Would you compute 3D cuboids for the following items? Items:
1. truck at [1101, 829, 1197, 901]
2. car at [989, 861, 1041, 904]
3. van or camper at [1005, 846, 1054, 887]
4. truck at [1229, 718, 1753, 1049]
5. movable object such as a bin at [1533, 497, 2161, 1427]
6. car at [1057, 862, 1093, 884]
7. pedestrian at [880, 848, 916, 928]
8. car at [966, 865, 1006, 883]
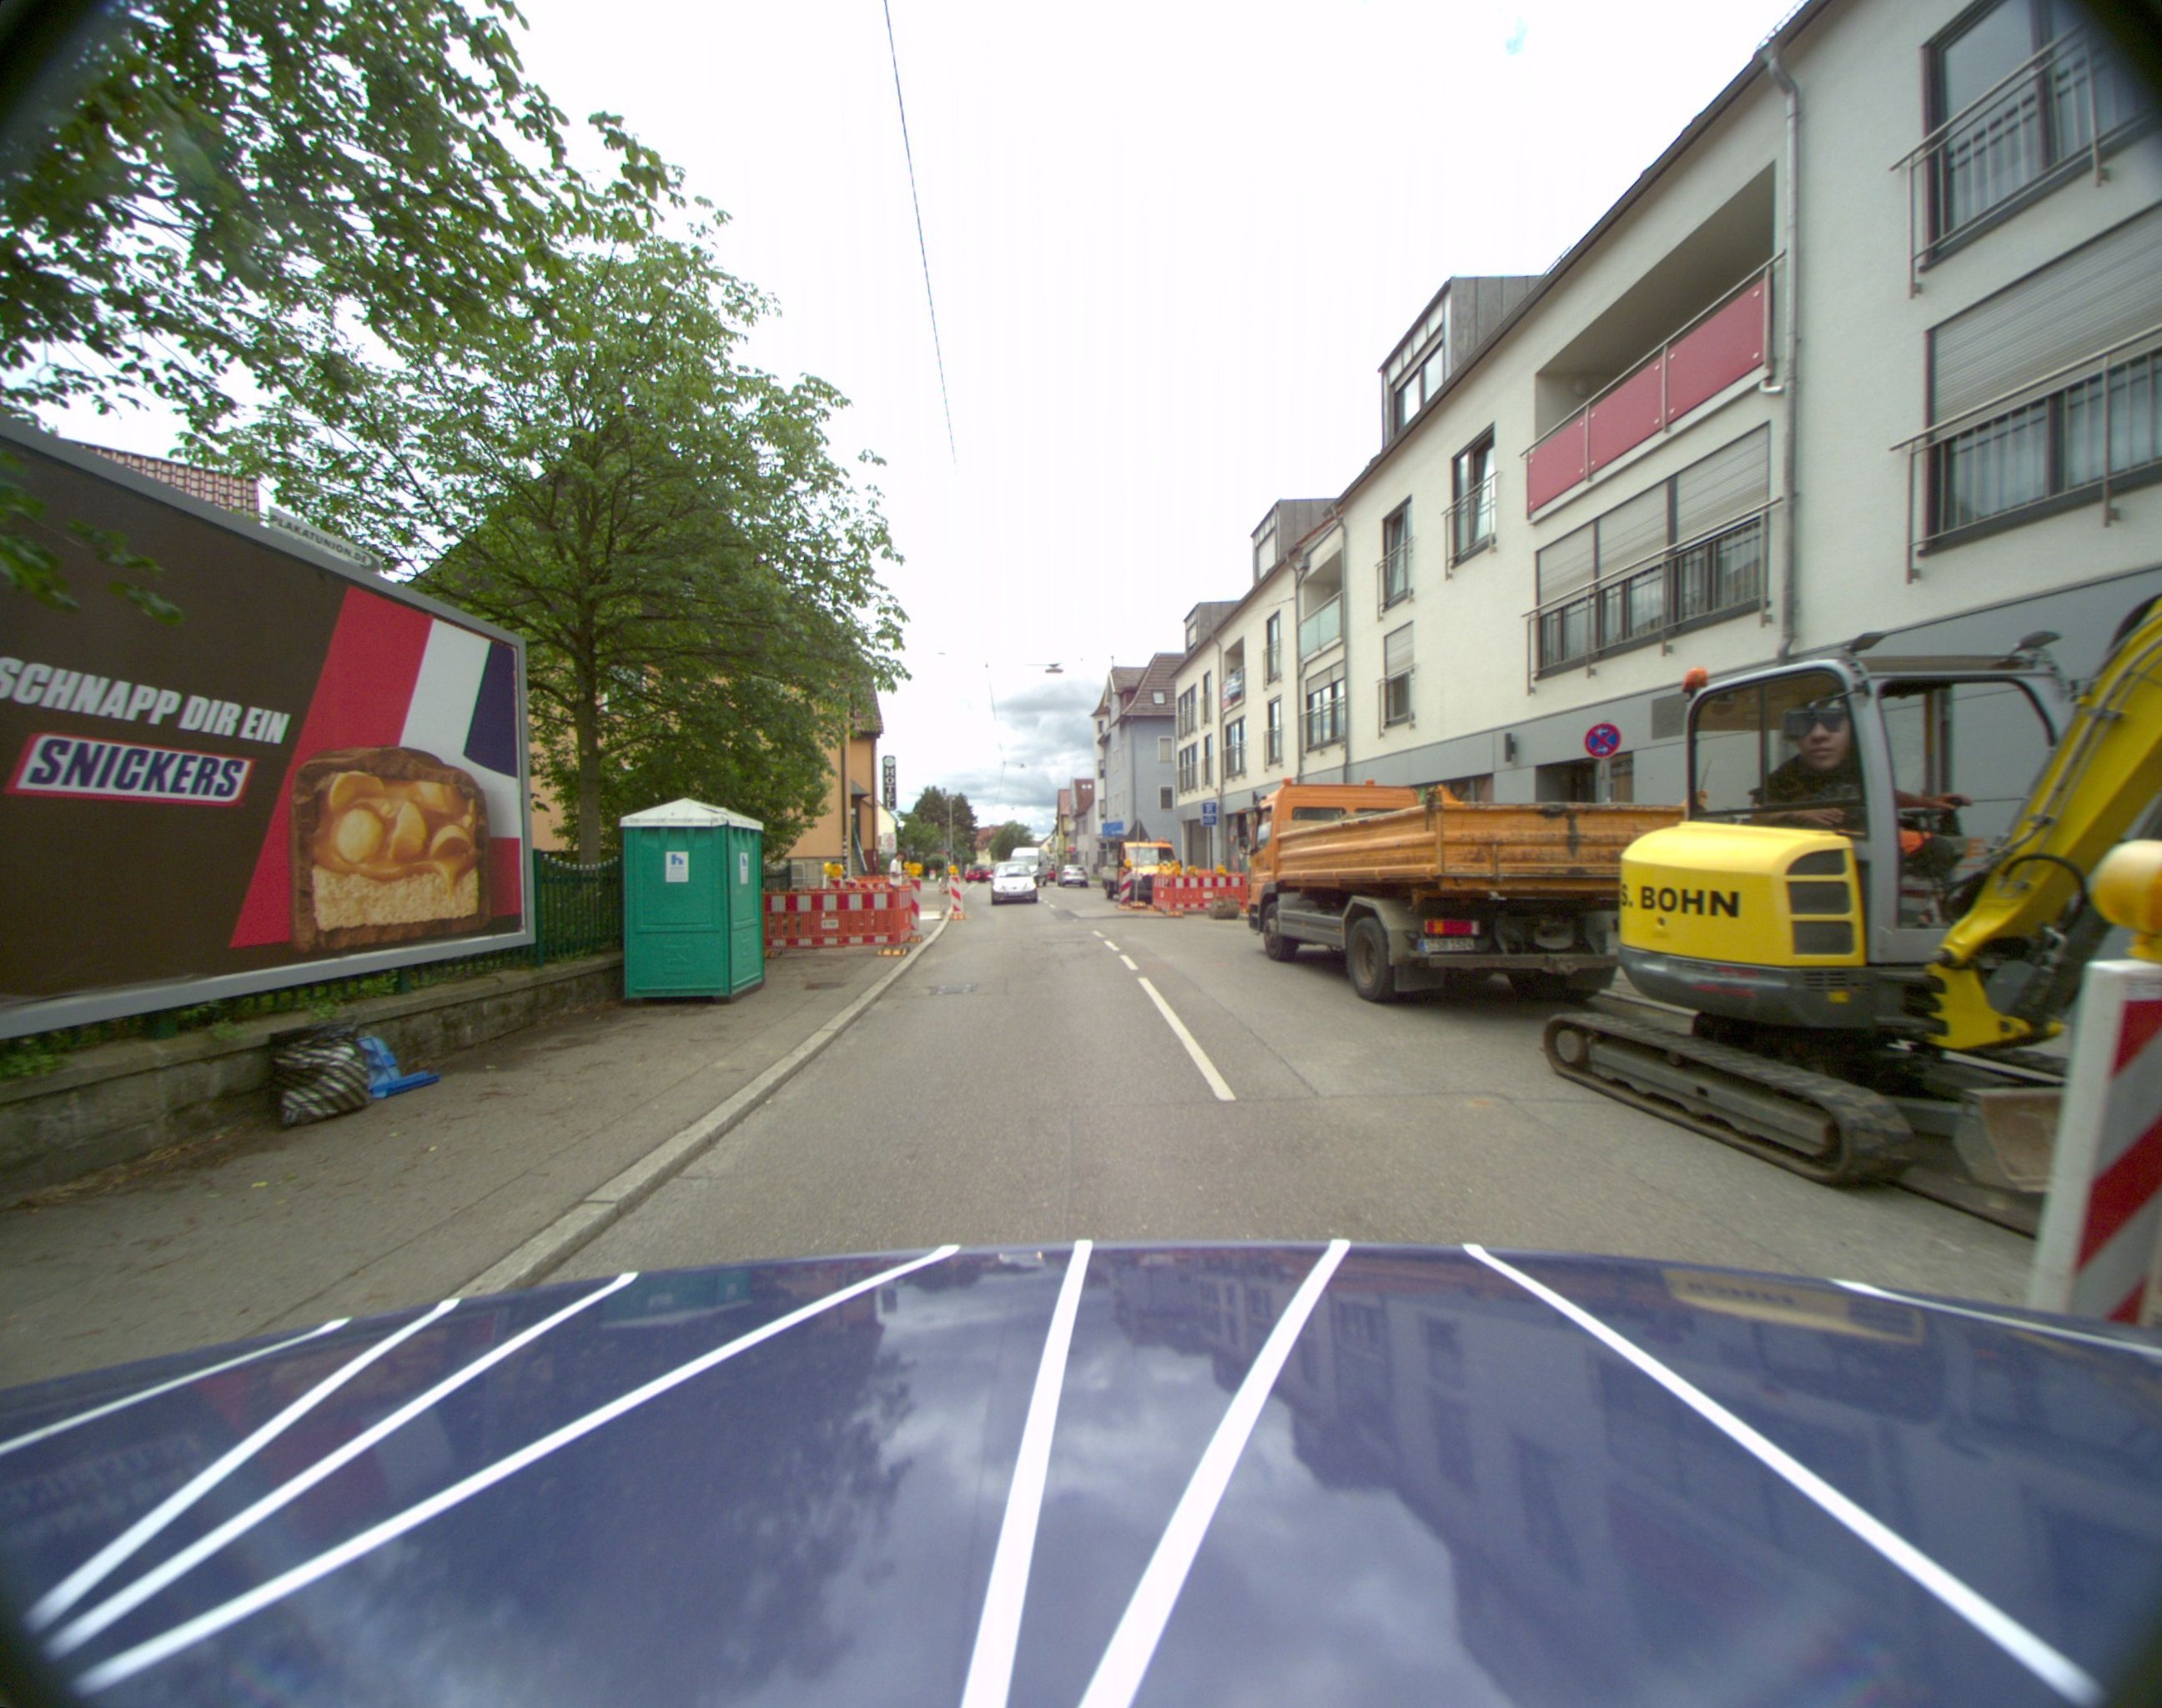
[{"bbox_3d":[2.420,0.416,29.174,2.421,2.451,6.304,0,-1,-7],"label":"truck"},{"bbox_3d":[-2.612,1.062,29.838,1.859,1.547,4.350,0,-1,-6],"label":"car"},{"bbox_3d":[-3.394,0.799,51.353,2.324,2.592,6.211,0,-1,5],"label":"van or camper"},{"bbox_3d":[4.094,0.263,9.724,2.739,2.709,6.846,-1,0,-3],"label":"truck"},{"bbox_3d":[4.096,0.302,3.022,1.844,2.748,4.504,-1,1,-1],"label":"movable object such as a bin"},{"bbox_3d":[-0.439,1.239,50.344,1.804,1.403,3.997,0,-1,-10],"label":"car"},{"bbox_3d":[-4.536,0.829,18.916,0.801,1.938,0.836,0,0,-9],"label":"pedestrian"},{"bbox_3d":[-8.142,1.701,64.993,1.815,1.511,2.946,-1,-1,40],"label":"car"}]
